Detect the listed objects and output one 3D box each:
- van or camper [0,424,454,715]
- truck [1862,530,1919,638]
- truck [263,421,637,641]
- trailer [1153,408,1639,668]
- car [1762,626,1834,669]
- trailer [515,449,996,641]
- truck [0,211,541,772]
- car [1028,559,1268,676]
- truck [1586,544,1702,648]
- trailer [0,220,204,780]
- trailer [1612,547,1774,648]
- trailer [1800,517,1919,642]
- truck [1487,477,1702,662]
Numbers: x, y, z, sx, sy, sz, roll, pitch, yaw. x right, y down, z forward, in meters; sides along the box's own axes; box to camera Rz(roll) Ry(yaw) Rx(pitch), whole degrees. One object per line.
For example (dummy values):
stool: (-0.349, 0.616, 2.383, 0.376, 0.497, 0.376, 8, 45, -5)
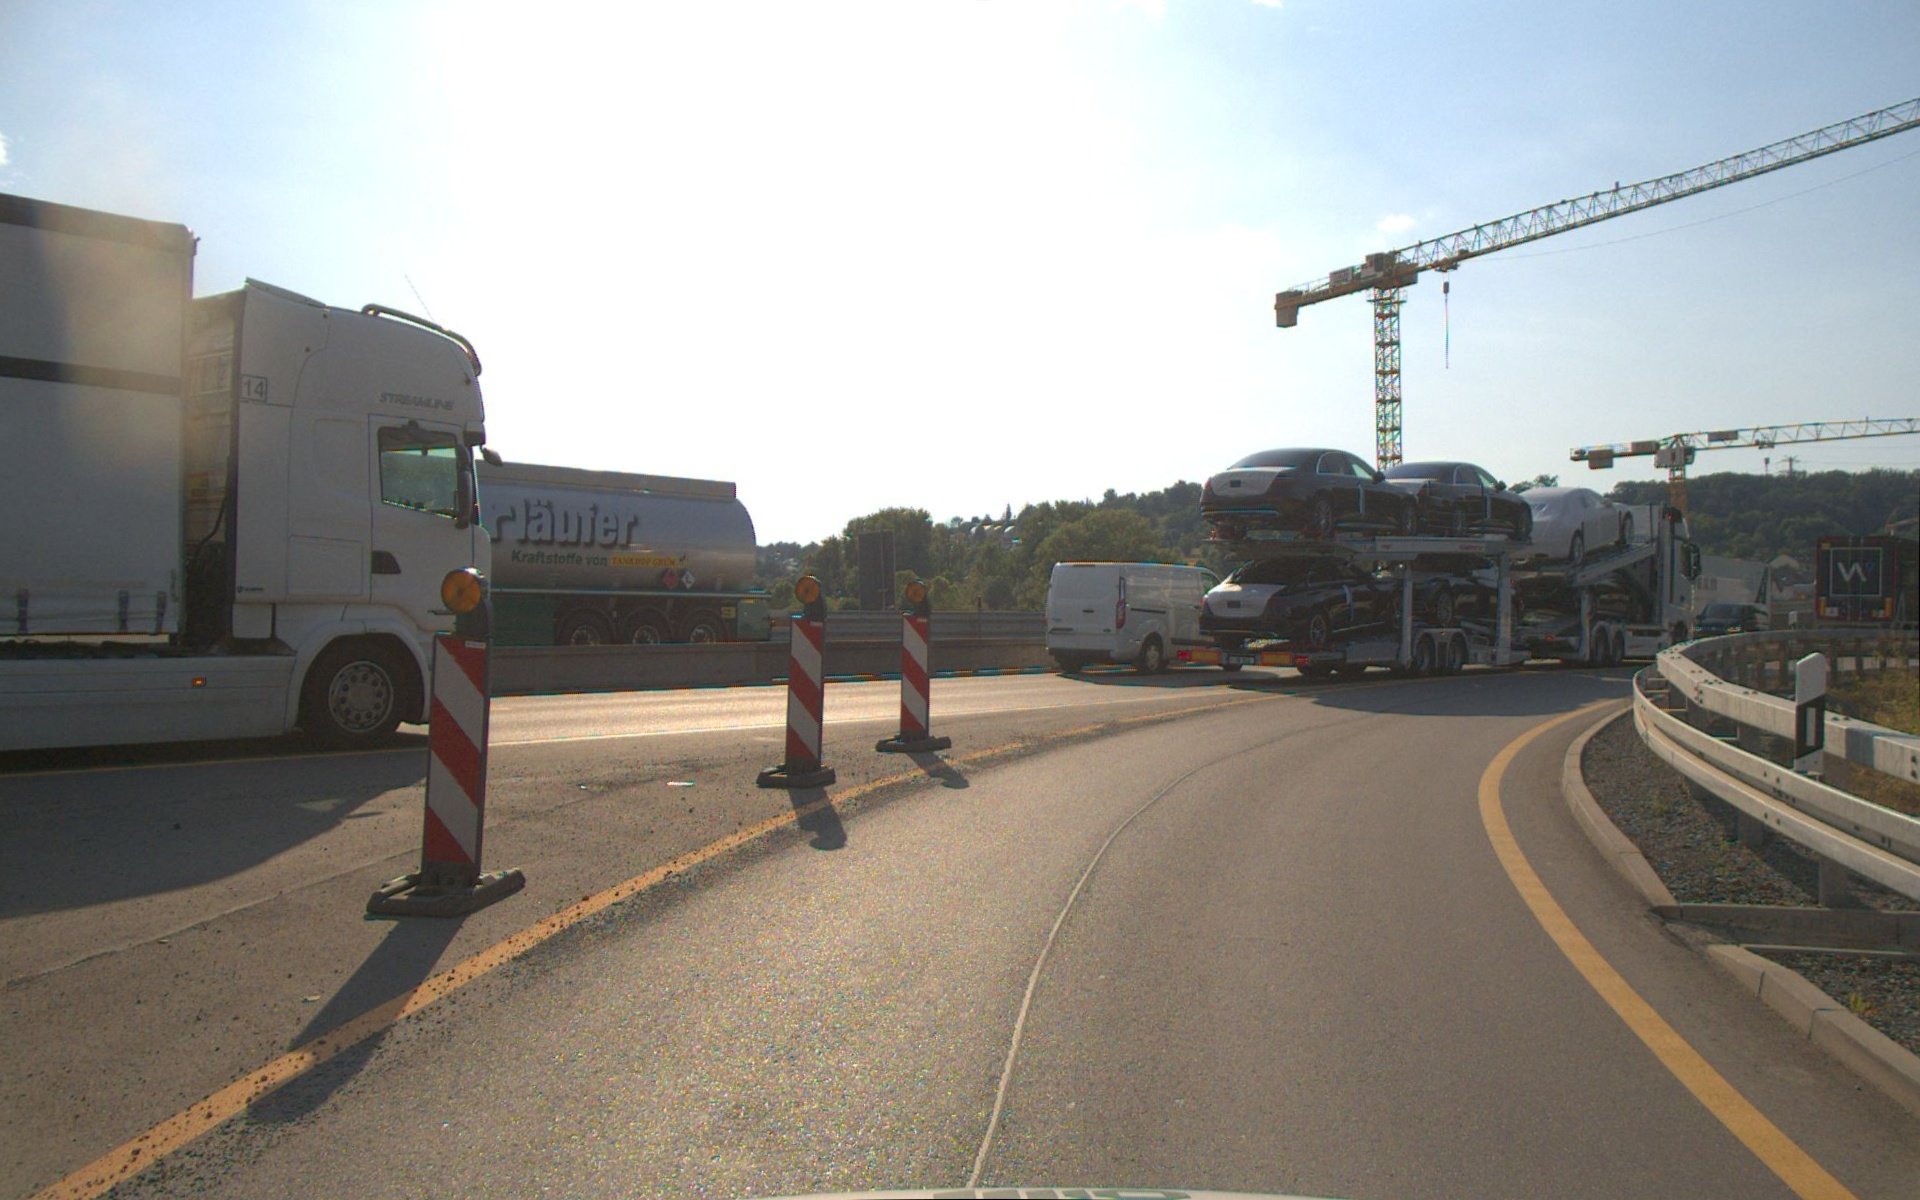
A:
van or camper: (-8.380, -0.243, 17.139, 1.963, 2.666, 5.872, 0, -1, 40)
truck: (38.021, -0.528, 65.271, 2.843, 4.067, 6.584, -1, -2, 42)
truck: (-8.216, -0.946, 27.179, 2.108, 3.189, 5.656, -3, -3, 40)
trailer: (9.336, -0.794, 32.645, 2.814, 4.067, 15.658, -1, -2, 40)
car: (34.000, 1.916, 67.083, 1.801, 1.683, 3.980, -3, -3, 39)
trailer: (-3.548, -0.805, 32.673, 2.108, 3.189, 10.920, -3, -3, 40)
truck: (-6.691, -0.724, 13.619, 2.443, 3.947, 5.978, -1, -2, 40)
car: (3.623, 0.318, 31.091, 1.999, 2.015, 4.950, 1, 0, 41)
truck: (28.782, -0.067, 69.470, 2.588, 4.138, 6.094, -3, -3, 41)
trailer: (-11.130, -0.815, 8.335, 2.442, 3.946, 13.556, -1, -2, 40)
trailer: (33.347, 0.062, 74.754, 2.588, 4.138, 13.997, -3, -3, 41)
trailer: (33.920, -0.572, 60.643, 2.915, 4.164, 10.728, -2, -3, 41)
truck: (15.364, -0.600, 39.775, 2.805, 4.067, 6.587, -1, -2, 40)
